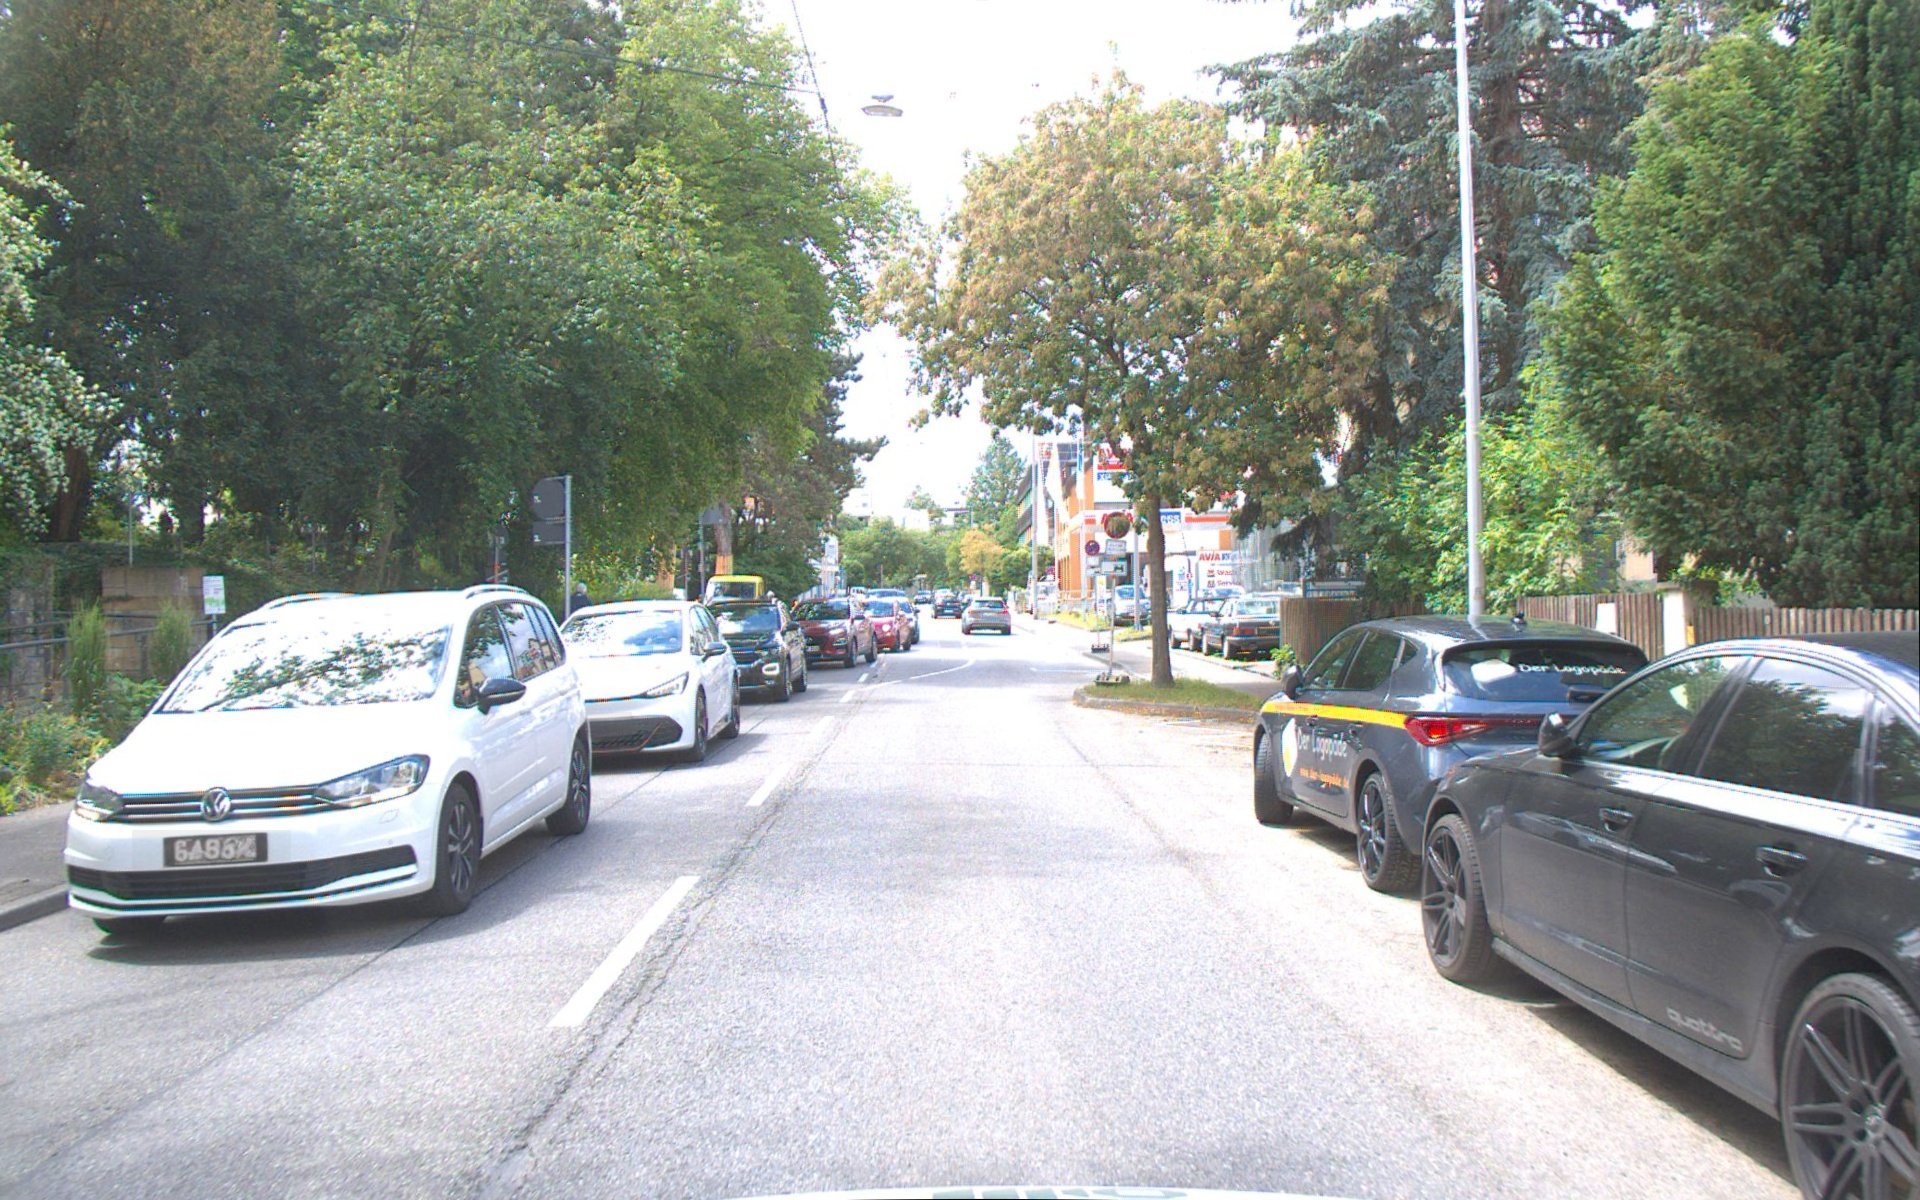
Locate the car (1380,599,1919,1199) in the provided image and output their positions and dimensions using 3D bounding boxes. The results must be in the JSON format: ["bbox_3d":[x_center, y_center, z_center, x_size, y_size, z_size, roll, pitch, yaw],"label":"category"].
[{"bbox_3d":[2.899,0.765,5.123,1.765,1.470,4.884,2,0,-2],"label":"car"}]

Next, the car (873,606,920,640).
[{"bbox_3d":[-2.646,0.986,70.080,1.920,1.418,4.294,0,-1,-1],"label":"car"}]

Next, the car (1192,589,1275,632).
[{"bbox_3d":[9.189,0.334,55.847,1.806,1.379,4.064,-1,0,-5],"label":"car"}]

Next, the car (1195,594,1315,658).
[{"bbox_3d":[6.431,0.546,36.531,1.690,1.339,4.264,0,0,-3],"label":"car"}]

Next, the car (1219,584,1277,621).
[{"bbox_3d":[13.889,0.140,79.936,1.750,1.663,3.688,-3,0,-6],"label":"car"}]

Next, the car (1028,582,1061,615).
[{"bbox_3d":[5.340,-0.082,105.122,1.952,2.049,4.000,0,-1,0],"label":"car"}]

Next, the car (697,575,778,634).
[{"bbox_3d":[-7.950,0.206,59.540,2.101,2.015,4.931,0,-1,1],"label":"car"}]

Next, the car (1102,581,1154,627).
[{"bbox_3d":[6.670,0.144,65.950,1.747,1.663,3.693,-4,0,2],"label":"car"}]

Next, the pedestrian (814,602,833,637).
[{"bbox_3d":[-5.771,0.809,69.861,0.692,1.465,0.711,0,-1,-13],"label":"pedestrian"}]

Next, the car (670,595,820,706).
[{"bbox_3d":[-3.347,0.746,26.457,1.752,1.569,4.263,-2,0,0],"label":"car"}]

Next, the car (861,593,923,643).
[{"bbox_3d":[-2.220,0.619,54.989,1.889,1.605,4.295,0,-1,0],"label":"car"}]

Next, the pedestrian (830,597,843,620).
[{"bbox_3d":[-7.971,0.561,106.753,0.690,1.465,0.714,0,-1,3],"label":"pedestrian"}]

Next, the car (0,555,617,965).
[{"bbox_3d":[-3.276,0.683,9.321,1.750,1.676,4.489,-2,0,-1],"label":"car"}]

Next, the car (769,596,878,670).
[{"bbox_3d":[-3.056,0.711,37.874,1.724,1.560,4.099,-2,0,6],"label":"car"}]

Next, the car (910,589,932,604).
[{"bbox_3d":[-4.060,-0.387,174.259,2.067,1.527,4.267,-1,0,1],"label":"car"}]

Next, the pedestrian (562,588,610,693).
[{"bbox_3d":[-6.547,0.704,29.003,0.700,1.793,1.120,0,-1,-6],"label":"pedestrian"}]

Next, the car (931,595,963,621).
[{"bbox_3d":[-0.840,0.461,101.571,1.780,1.527,4.264,1,0,-3],"label":"car"}]

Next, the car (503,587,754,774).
[{"bbox_3d":[-3.248,0.730,17.001,1.749,1.619,4.153,-2,0,-1],"label":"car"}]

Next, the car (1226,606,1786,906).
[{"bbox_3d":[3.041,0.775,10.335,1.788,1.442,4.506,1,0,-3],"label":"car"}]

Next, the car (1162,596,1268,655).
[{"bbox_3d":[6.337,0.603,41.580,1.689,1.387,4.481,-1,0,-4],"label":"car"}]

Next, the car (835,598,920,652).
[{"bbox_3d":[-2.296,0.711,46.884,1.655,1.450,3.440,0,-1,10],"label":"car"}]

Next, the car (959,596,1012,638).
[{"bbox_3d":[0.995,0.657,66.124,1.936,1.539,4.266,3,0,0],"label":"car"}]
